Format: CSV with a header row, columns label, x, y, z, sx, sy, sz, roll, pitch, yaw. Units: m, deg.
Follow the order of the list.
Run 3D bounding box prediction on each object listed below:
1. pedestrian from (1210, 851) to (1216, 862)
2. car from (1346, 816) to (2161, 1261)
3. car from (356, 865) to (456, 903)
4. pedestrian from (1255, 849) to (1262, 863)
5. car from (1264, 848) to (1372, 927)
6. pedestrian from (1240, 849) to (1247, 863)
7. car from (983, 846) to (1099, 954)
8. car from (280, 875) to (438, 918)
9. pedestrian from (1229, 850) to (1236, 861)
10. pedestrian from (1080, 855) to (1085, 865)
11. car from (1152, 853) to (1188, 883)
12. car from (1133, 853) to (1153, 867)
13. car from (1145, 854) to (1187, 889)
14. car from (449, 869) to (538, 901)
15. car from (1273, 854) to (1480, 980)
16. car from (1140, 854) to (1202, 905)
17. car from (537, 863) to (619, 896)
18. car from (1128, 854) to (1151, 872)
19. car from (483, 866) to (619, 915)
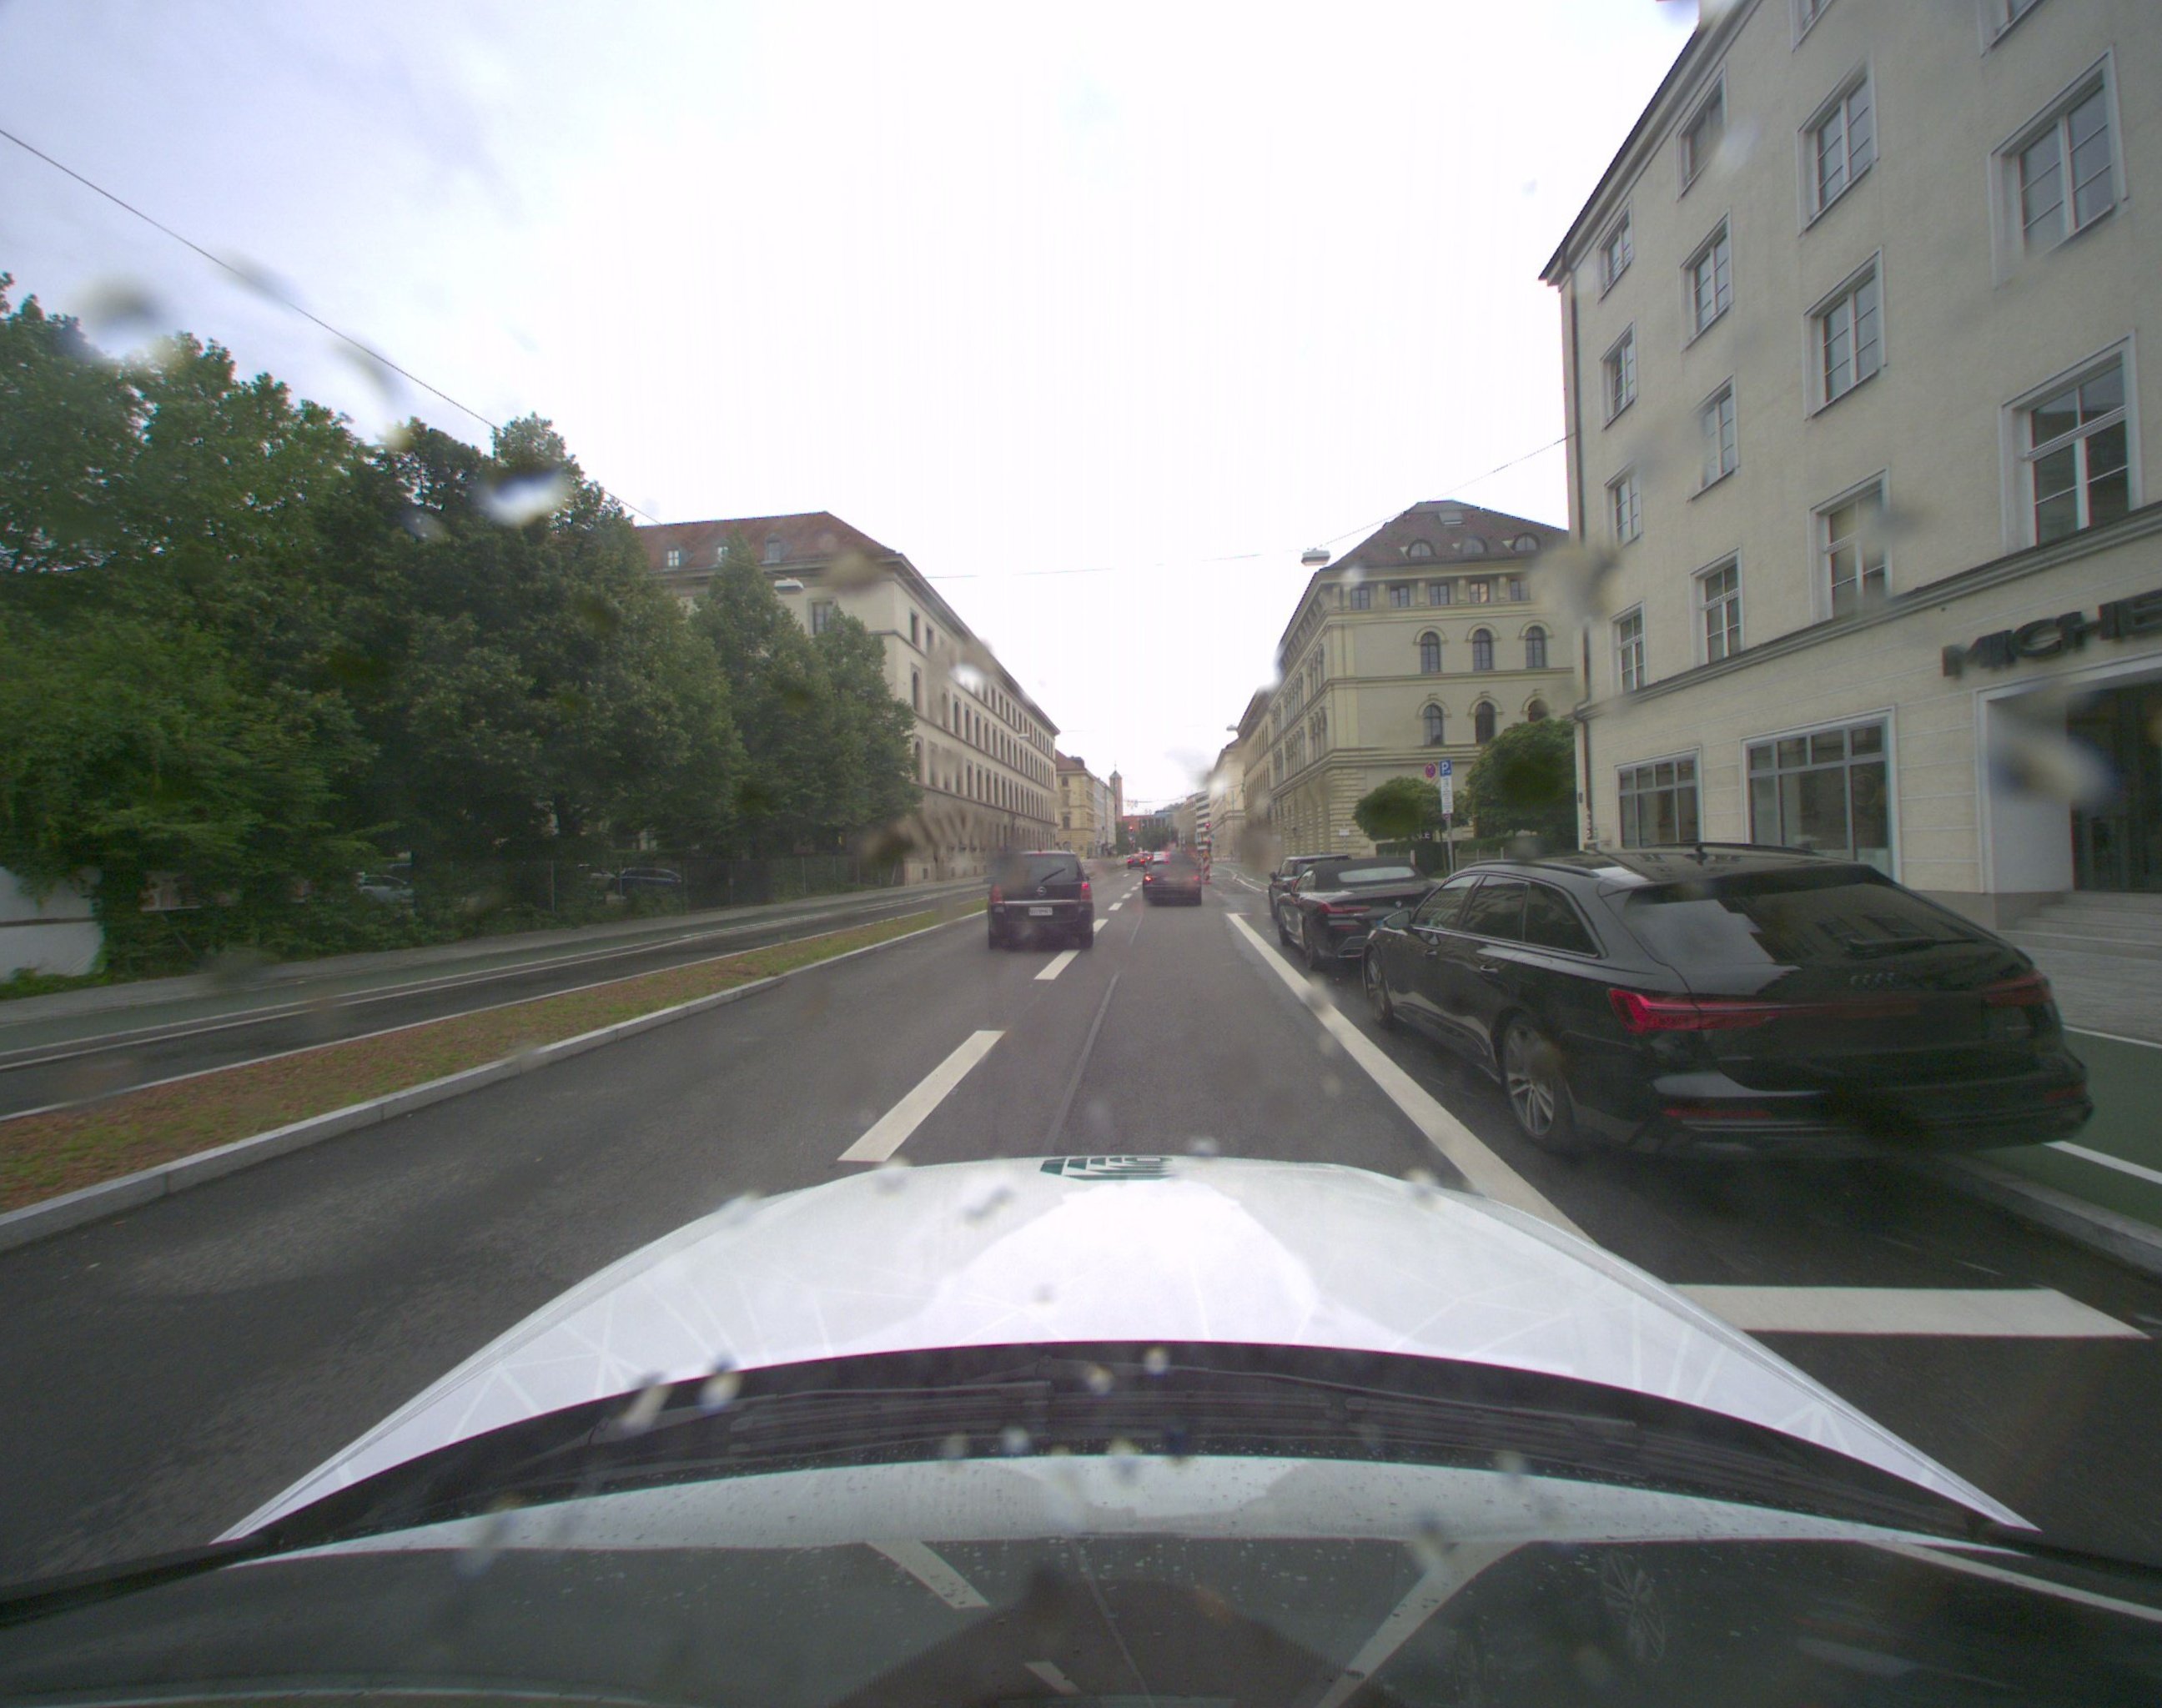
label,x,y,z,sx,sy,sz,roll,pitch,yaw
pedestrian,19.541,0.360,120.363,0.746,1.618,0.715,-2,0,14
car,3.210,0.682,5.201,1.800,1.480,4.468,-6,0,5
car,-37.689,1.659,45.616,1.834,1.928,4.011,-2,0,10
pedestrian,19.934,0.233,91.548,0.706,1.618,0.755,-2,0,6
car,5.000,0.648,17.630,1.666,1.521,3.838,-1,0,8
pedestrian,19.757,0.254,99.227,0.706,1.618,0.755,-2,0,6
car,-0.838,0.693,14.498,1.763,1.616,4.020,-1,0,-7
car,-29.205,1.683,33.192,1.983,1.441,4.640,-2,0,6
pedestrian,21.879,0.225,117.772,0.713,1.618,0.748,-2,0,-23
pedestrian,0.288,1.020,147.103,0.652,1.805,0.728,-2,0,6
car,4.540,0.685,41.499,1.721,1.461,4.007,0,0,6
car,6.965,0.697,91.297,1.983,1.444,4.008,-2,0,7
car,3.695,0.716,35.222,1.721,1.403,4.007,0,0,6
car,-32.592,1.697,45.323,1.761,1.544,4.007,-2,0,6
car,3.935,0.725,11.704,1.816,1.407,4.730,-1,0,8
car,2.765,0.730,24.883,1.721,1.403,4.007,0,0,6
car,-27.619,1.360,44.865,1.656,1.640,4.007,-1,0,6
car,5.669,0.840,79.074,1.983,1.627,4.008,-2,0,7
car,-19.583,1.334,30.165,4.117,1.589,1.811,-2,0,13
